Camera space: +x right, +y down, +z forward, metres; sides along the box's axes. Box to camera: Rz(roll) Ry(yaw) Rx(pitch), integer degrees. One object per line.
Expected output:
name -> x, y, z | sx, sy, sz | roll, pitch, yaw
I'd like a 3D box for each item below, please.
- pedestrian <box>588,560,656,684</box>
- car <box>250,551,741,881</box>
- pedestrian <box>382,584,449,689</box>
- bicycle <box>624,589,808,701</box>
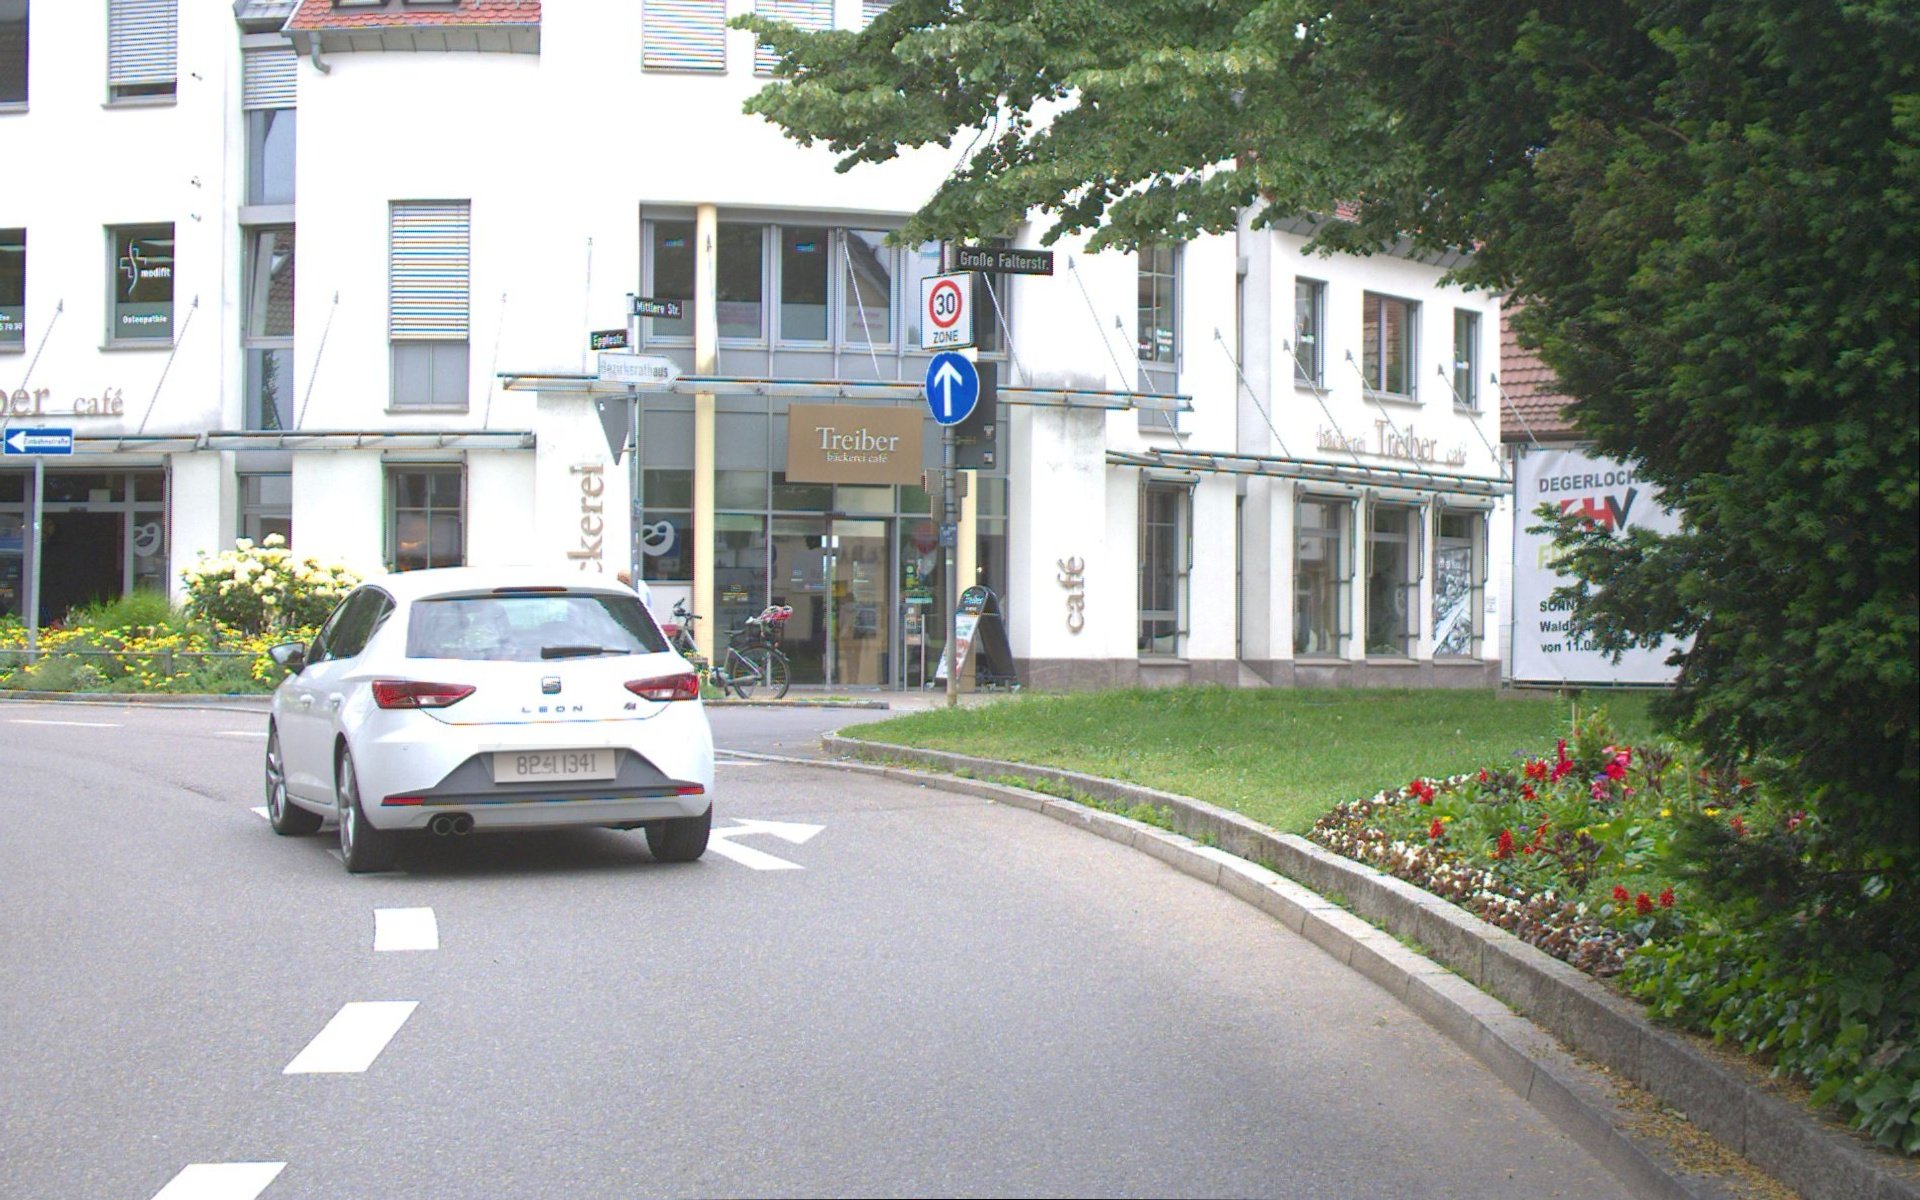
pedestrian -> -4.200, 0.270, 42.719 | 0.700, 1.520, 0.867 | 0, 0, 4
car -> -2.502, 0.504, 17.647 | 1.843, 1.429, 4.001 | 0, 1, -17
pedestrian -> -6.951, 0.462, 43.879 | 0.700, 1.327, 0.684 | 0, 0, 4
bicycle -> -2.821, 0.511, 39.755 | 1.975, 1.235, 0.743 | 1, 0, 17
